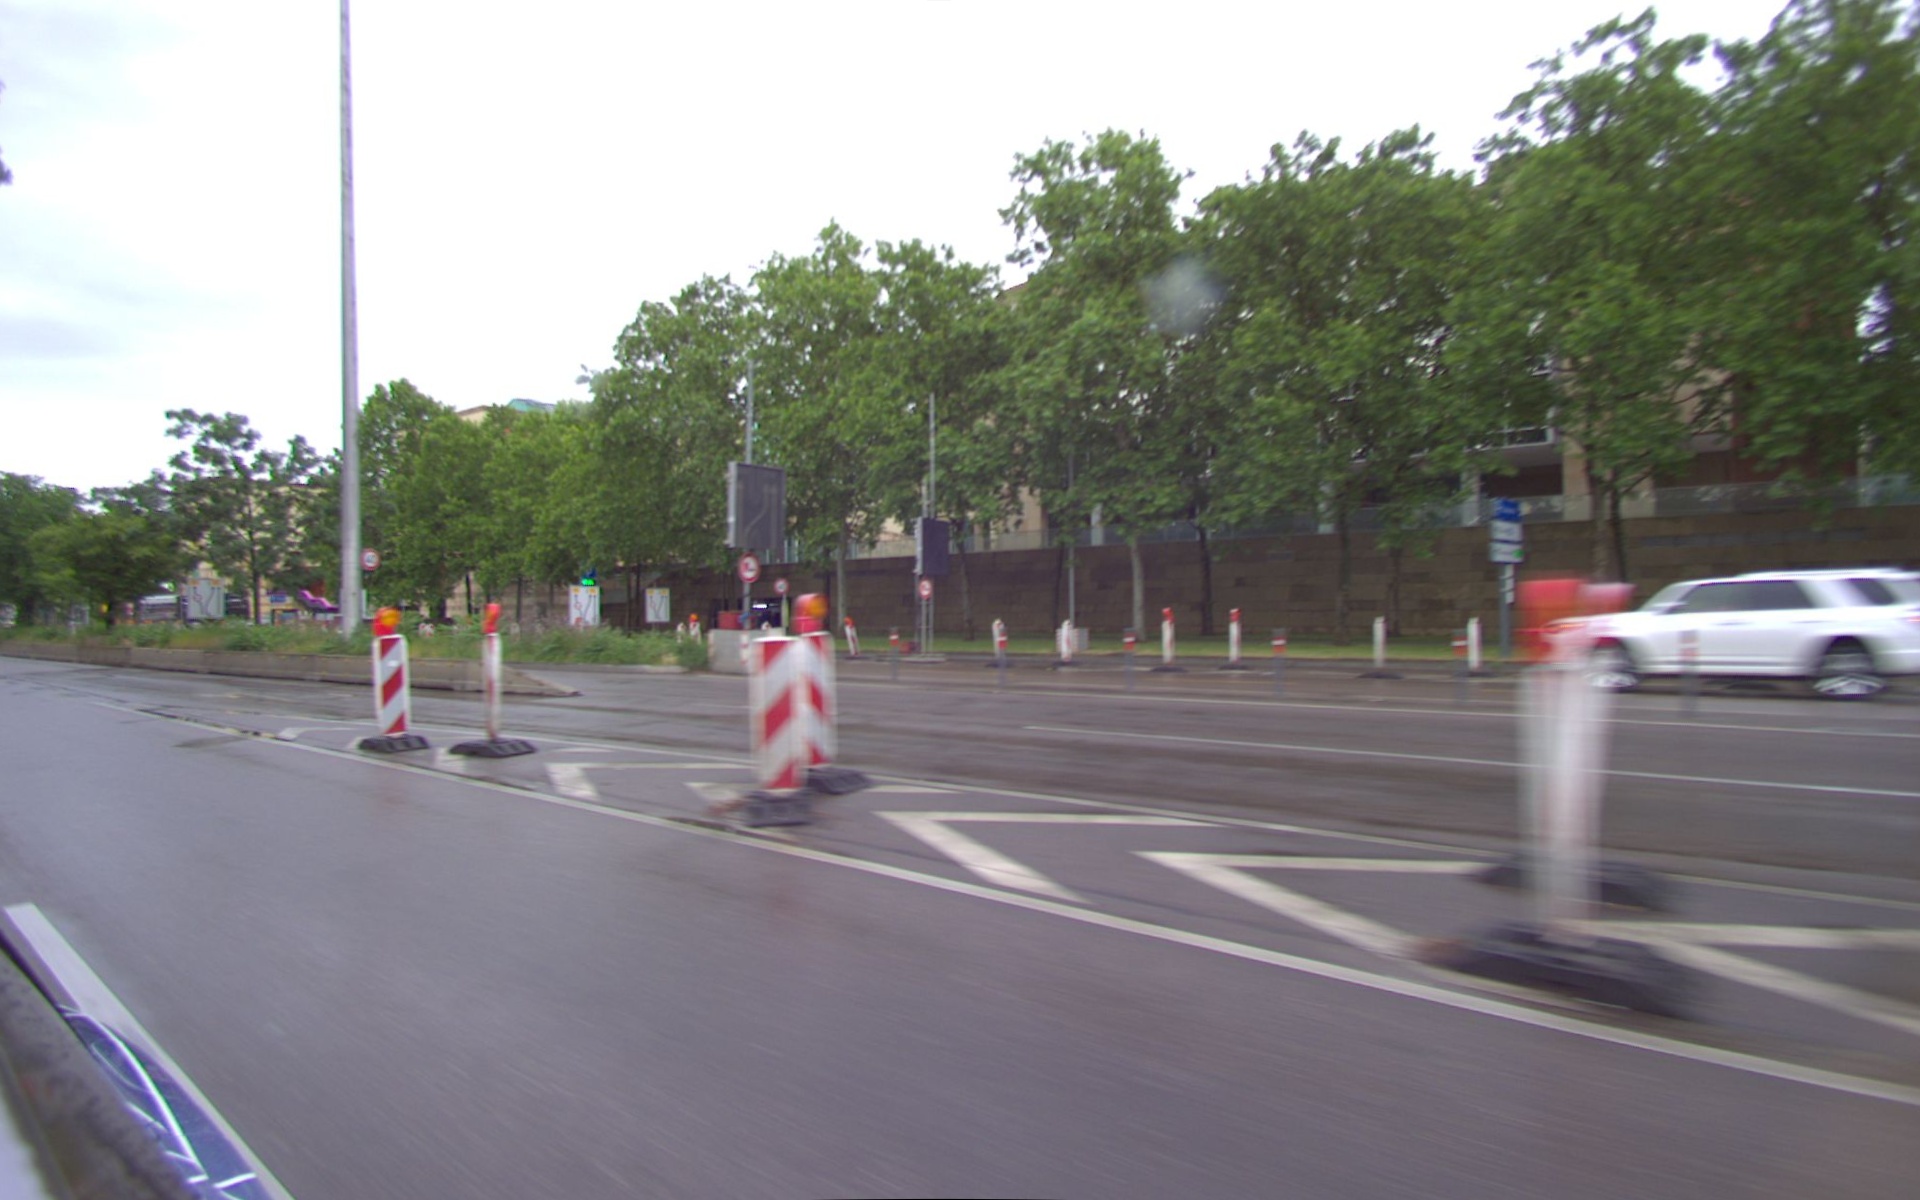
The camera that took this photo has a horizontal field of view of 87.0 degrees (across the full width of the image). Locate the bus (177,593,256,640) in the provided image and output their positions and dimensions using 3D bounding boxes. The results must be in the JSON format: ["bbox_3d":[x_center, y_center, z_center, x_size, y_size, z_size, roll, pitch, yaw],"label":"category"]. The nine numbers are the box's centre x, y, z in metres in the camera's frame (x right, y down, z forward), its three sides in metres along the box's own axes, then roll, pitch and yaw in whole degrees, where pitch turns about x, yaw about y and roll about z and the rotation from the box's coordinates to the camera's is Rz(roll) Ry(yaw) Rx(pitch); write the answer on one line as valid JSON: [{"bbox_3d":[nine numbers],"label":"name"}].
[{"bbox_3d":[-73.176,1.660,99.473,13.483,4.284,3.088,-1,1,40],"label":"bus"}]

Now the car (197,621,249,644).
[{"bbox_3d":[-52.468,2.301,72.049,3.996,1.541,1.974,0,-2,39],"label":"car"}]

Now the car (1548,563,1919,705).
[{"bbox_3d":[11.742,0.481,15.176,4.883,1.854,1.975,0,-2,37],"label":"car"}]

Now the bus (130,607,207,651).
[{"bbox_3d":[-74.974,2.739,95.706,14.586,3.839,2.776,-1,1,40],"label":"bus"}]

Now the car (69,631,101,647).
[{"bbox_3d":[-85.720,3.815,99.093,3.206,1.512,1.578,-1,0,34],"label":"car"}]
